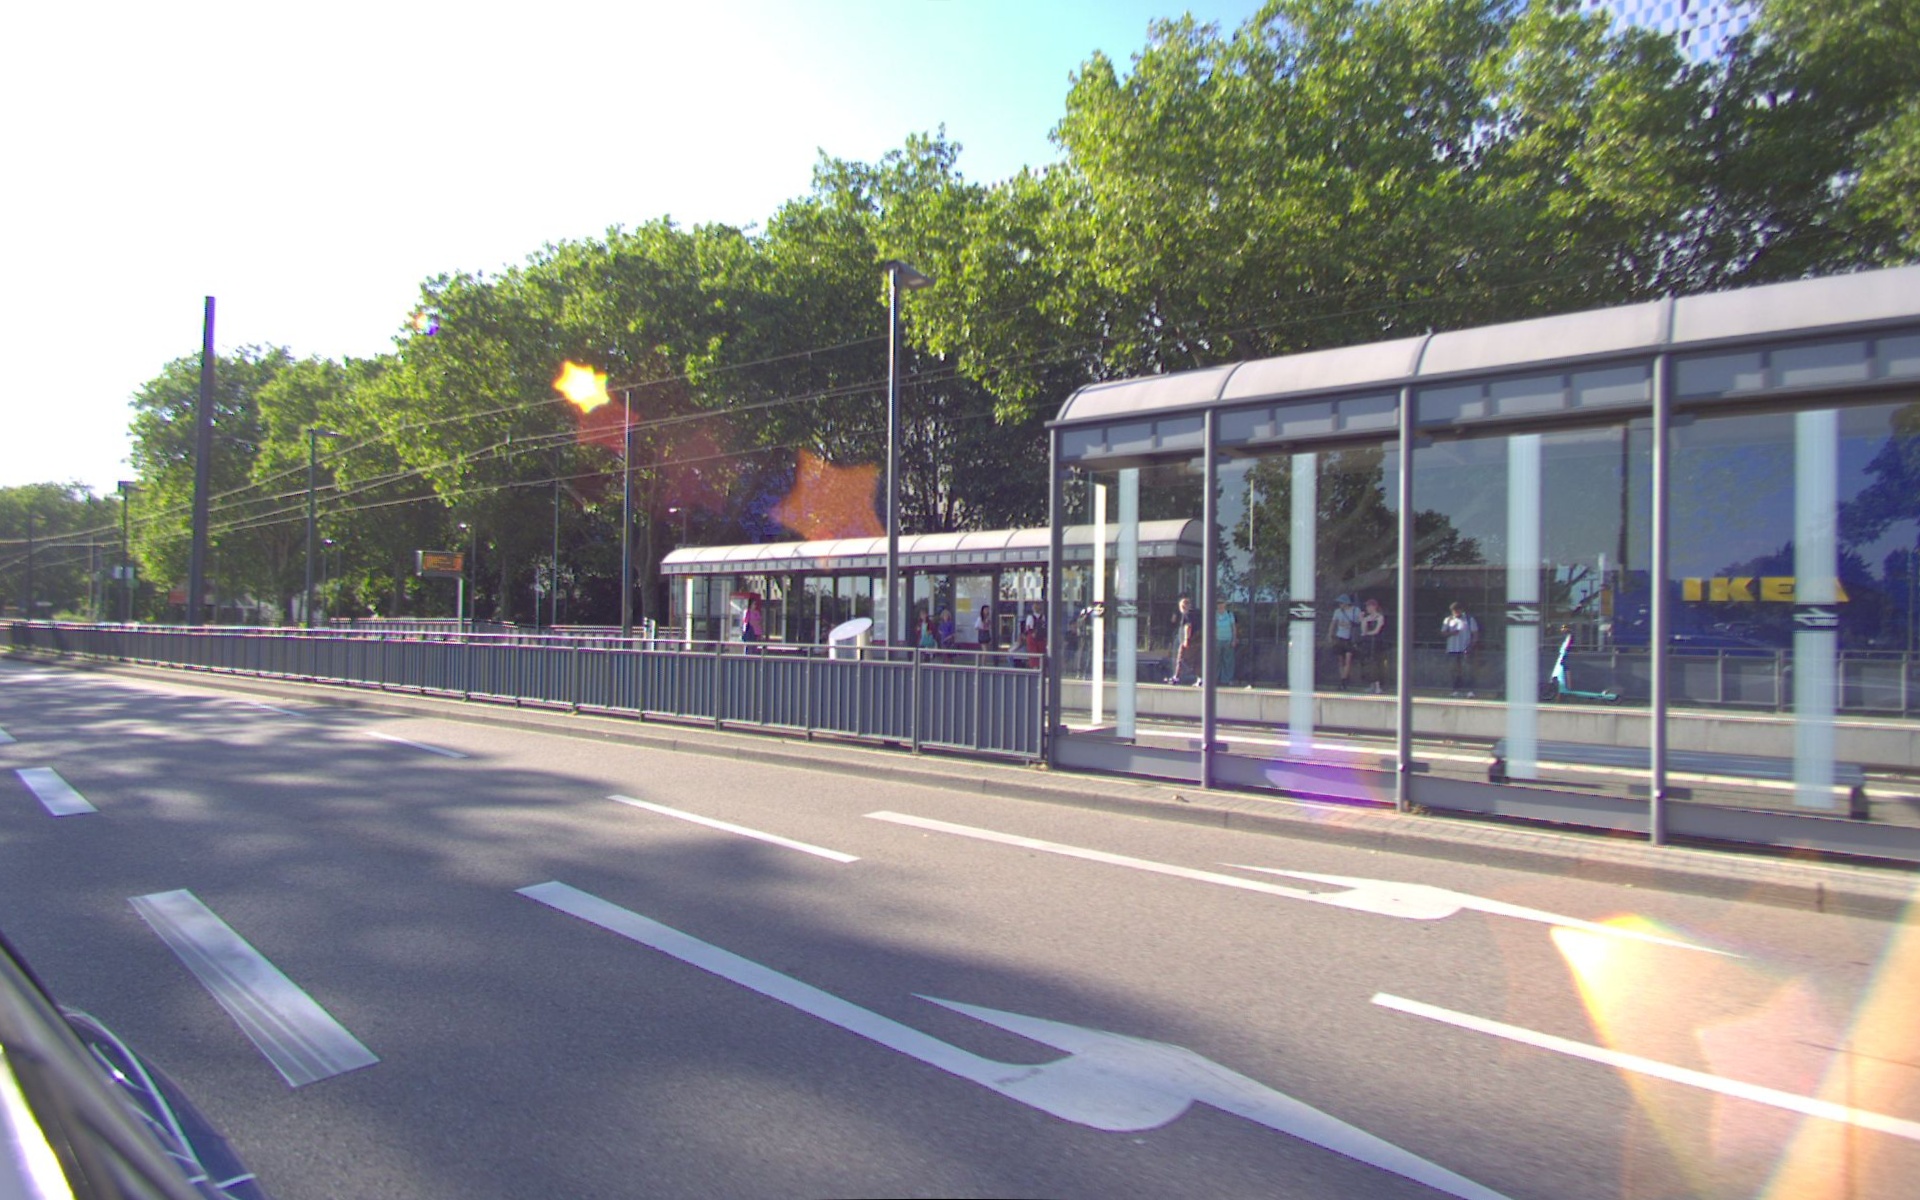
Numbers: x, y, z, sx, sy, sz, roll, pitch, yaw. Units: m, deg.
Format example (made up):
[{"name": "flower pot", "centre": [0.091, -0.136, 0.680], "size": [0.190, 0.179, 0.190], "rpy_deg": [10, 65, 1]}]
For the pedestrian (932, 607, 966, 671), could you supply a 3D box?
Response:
[{"name": "pedestrian", "centre": [-0.267, 0.938, 24.267], "size": [0.574, 1.503, 0.665], "rpy_deg": [0, -2, 25]}]

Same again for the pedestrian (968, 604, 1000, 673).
[{"name": "pedestrian", "centre": [0.566, 0.896, 23.779], "size": [0.568, 1.589, 0.489], "rpy_deg": [2, -2, -43]}]

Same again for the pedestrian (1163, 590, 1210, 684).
[{"name": "pedestrian", "centre": [4.553, 0.729, 20.346], "size": [0.685, 1.834, 0.726], "rpy_deg": [-1, 0, 33]}]

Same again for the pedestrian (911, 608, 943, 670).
[{"name": "pedestrian", "centre": [-0.801, 0.948, 24.678], "size": [0.542, 1.479, 0.609], "rpy_deg": [-1, -2, 30]}]

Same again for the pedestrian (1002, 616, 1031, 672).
[{"name": "pedestrian", "centre": [1.305, 1.003, 23.261], "size": [0.662, 1.267, 0.576], "rpy_deg": [0, -2, 4]}]

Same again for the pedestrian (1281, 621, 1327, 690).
[{"name": "pedestrian", "centre": [6.424, 1.024, 18.898], "size": [0.617, 1.234, 0.595], "rpy_deg": [-1, -1, 42]}]

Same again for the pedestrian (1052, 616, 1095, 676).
[{"name": "pedestrian", "centre": [2.472, 0.980, 21.996], "size": [0.684, 1.262, 0.647], "rpy_deg": [-1, 0, 35]}]

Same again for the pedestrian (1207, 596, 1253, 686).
[{"name": "pedestrian", "centre": [5.282, 0.782, 19.780], "size": [0.684, 1.704, 0.727], "rpy_deg": [-1, 0, 28]}]

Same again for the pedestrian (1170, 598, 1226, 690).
[{"name": "pedestrian", "centre": [4.369, 0.783, 18.599], "size": [0.776, 1.645, 0.653], "rpy_deg": [-1, 0, 40]}]

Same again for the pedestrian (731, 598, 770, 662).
[{"name": "pedestrian", "centre": [-5.705, 0.810, 27.578], "size": [0.677, 1.723, 0.754], "rpy_deg": [-1, -2, 39]}]

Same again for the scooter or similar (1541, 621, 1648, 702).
[{"name": "scooter or similar", "centre": [10.094, 0.953, 16.114], "size": [1.370, 1.244, 0.658], "rpy_deg": [-1, -2, 38]}]

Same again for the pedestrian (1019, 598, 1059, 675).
[{"name": "pedestrian", "centre": [1.733, 0.795, 22.195], "size": [0.568, 1.648, 0.644], "rpy_deg": [2, -2, -43]}]

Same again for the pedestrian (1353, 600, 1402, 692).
[{"name": "pedestrian", "centre": [7.588, 0.822, 18.380], "size": [0.635, 1.632, 0.644], "rpy_deg": [-1, -1, 42]}]

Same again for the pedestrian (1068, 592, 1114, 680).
[{"name": "pedestrian", "centre": [2.680, 0.728, 20.685], "size": [0.684, 1.755, 0.647], "rpy_deg": [-1, 0, 35]}]

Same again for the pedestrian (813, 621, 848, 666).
[{"name": "pedestrian", "centre": [-3.424, 1.132, 26.768], "size": [0.623, 1.171, 0.671], "rpy_deg": [-1, -2, 36]}]

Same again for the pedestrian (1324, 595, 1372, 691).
[{"name": "pedestrian", "centre": [7.199, 0.775, 18.760], "size": [0.635, 1.732, 0.644], "rpy_deg": [-1, -1, 42]}]

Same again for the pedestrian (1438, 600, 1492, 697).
[{"name": "pedestrian", "centre": [8.724, 0.823, 17.495], "size": [0.690, 1.632, 0.595], "rpy_deg": [-1, -1, 42]}]
